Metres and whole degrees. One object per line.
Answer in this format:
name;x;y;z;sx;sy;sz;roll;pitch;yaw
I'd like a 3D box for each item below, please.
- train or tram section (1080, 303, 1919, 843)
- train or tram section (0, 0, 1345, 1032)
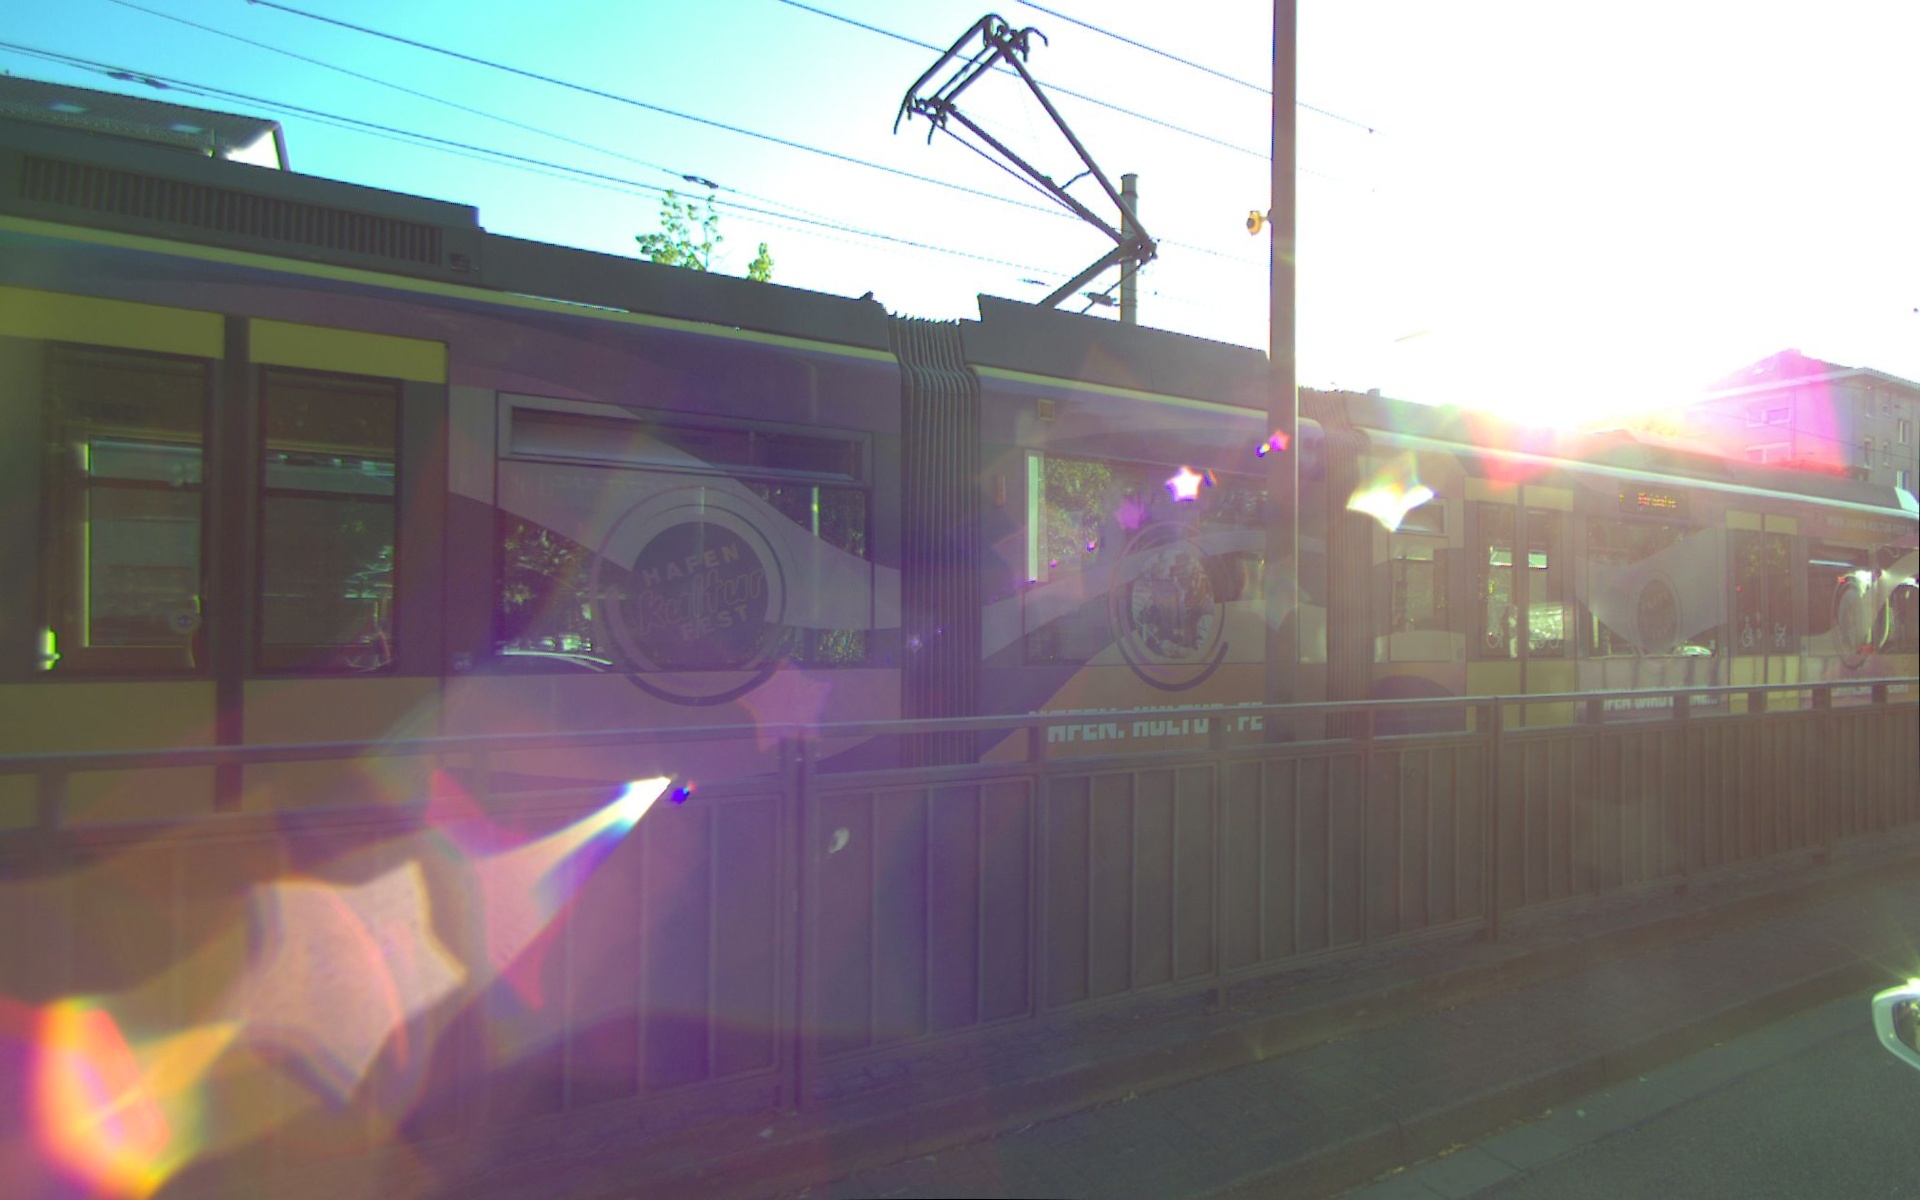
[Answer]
train or tram section;7.446;-0.022;11.012;13.171;3.565;2.629;1;-1;-29
train or tram section;-3.582;-0.301;4.809;12.629;3.596;2.717;1;-1;-29
